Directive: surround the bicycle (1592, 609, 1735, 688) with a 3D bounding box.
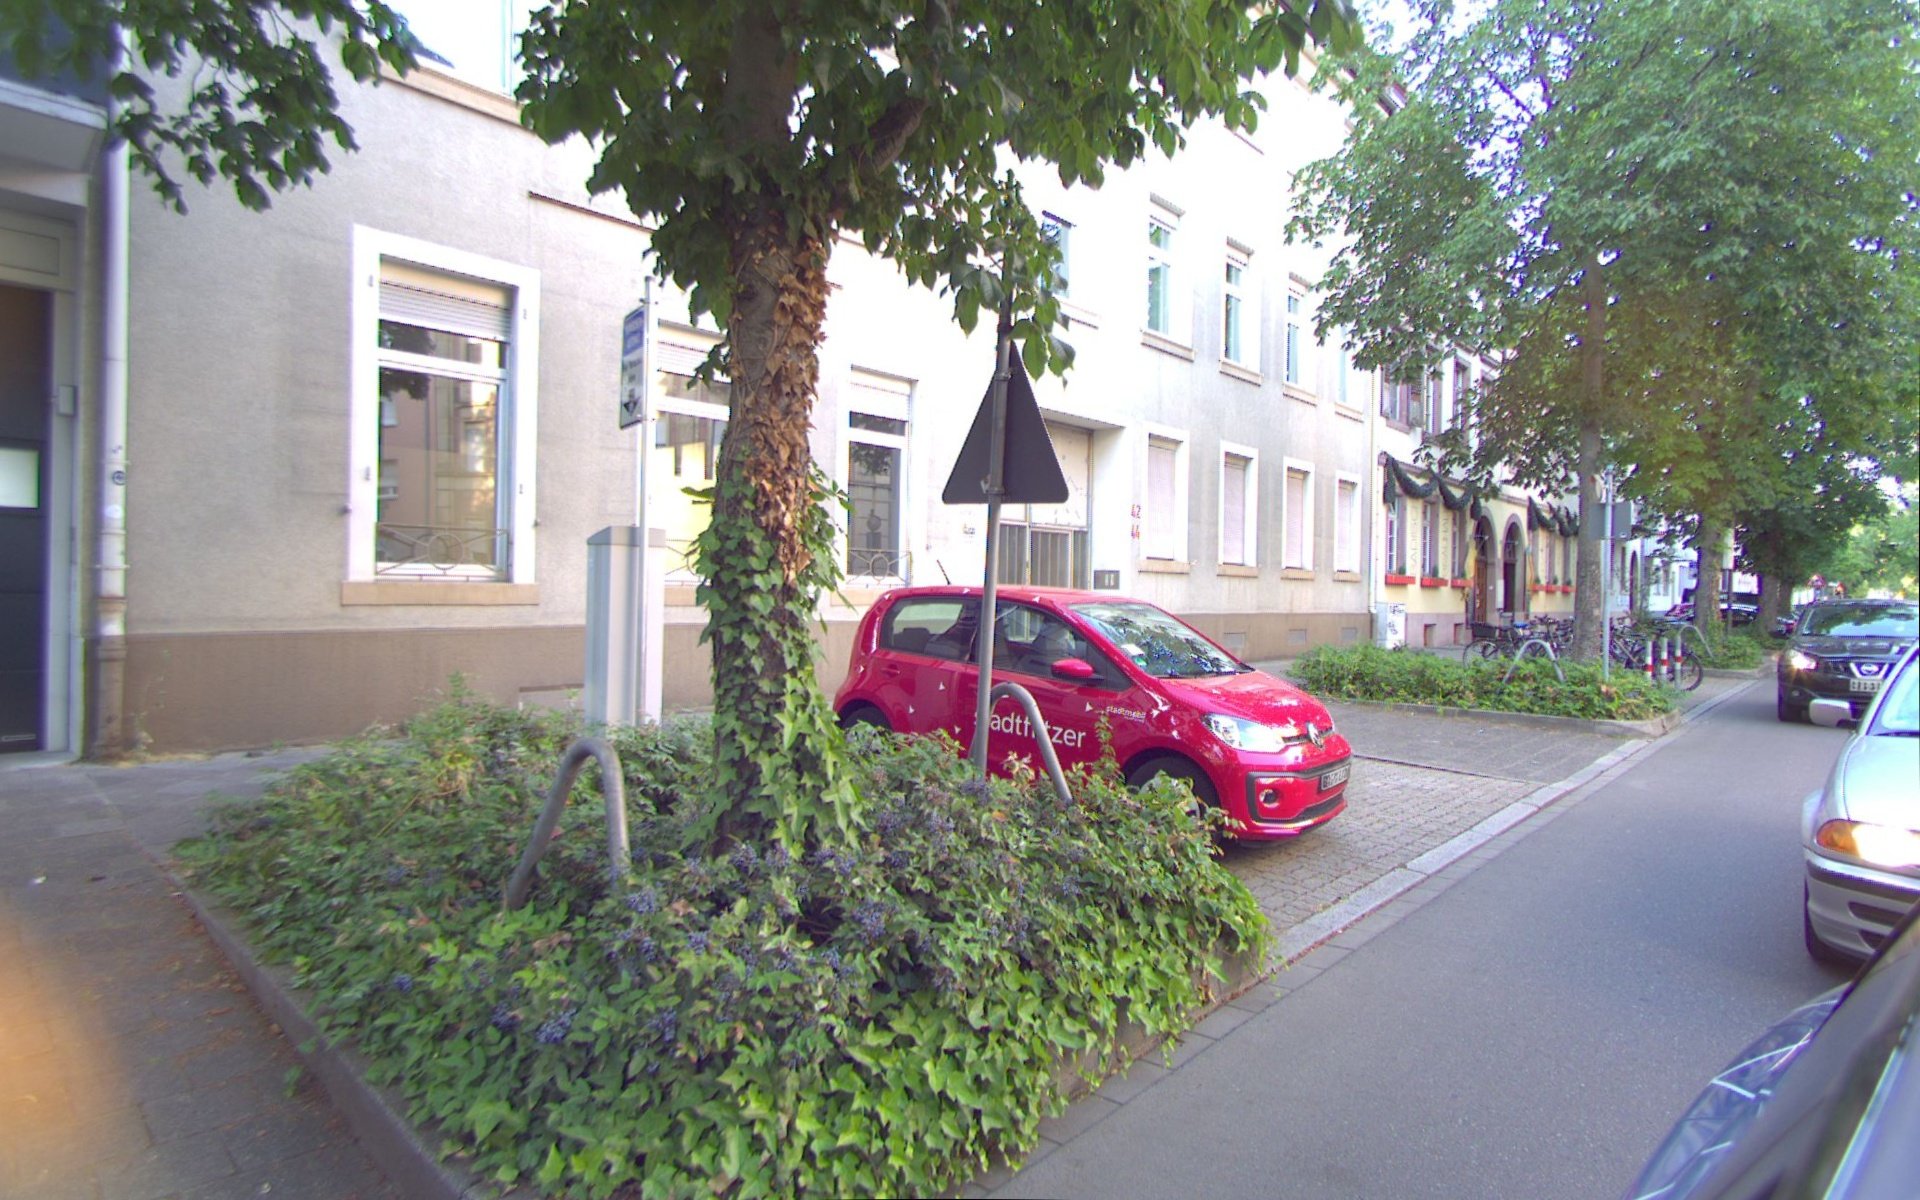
[{"bbox_3d":[12.355,0.822,17.819,2.019,1.242,0.528,2,1,39],"label":"bicycle"}]

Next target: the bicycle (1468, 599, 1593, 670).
[{"bbox_3d":[10.931,0.627,19.426,2.017,1.242,0.529,2,1,37],"label":"bicycle"}]

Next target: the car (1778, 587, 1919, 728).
[{"bbox_3d":[11.983,0.650,13.080,1.802,1.571,3.935,2,1,45],"label":"car"}]

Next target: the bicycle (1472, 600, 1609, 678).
[{"bbox_3d":[10.084,0.648,17.622,2.014,1.242,0.529,2,1,33],"label":"bicycle"}]

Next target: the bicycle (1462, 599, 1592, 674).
[{"bbox_3d":[10.300,0.640,18.432,2.014,1.242,0.529,2,1,33],"label":"bicycle"}]

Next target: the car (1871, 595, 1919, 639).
[{"bbox_3d":[35.891,0.604,38.442,1.801,1.571,3.937,2,1,44],"label":"car"}]

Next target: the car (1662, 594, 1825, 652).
[{"bbox_3d":[26.613,0.721,34.452,4.232,1.761,1.715,2,1,43],"label":"car"}]

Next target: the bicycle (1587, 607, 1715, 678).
[{"bbox_3d":[13.471,0.798,19.766,2.019,1.242,0.528,2,1,39],"label":"bicycle"}]

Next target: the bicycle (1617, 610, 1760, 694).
[{"bbox_3d":[11.852,0.821,16.533,1.835,1.242,0.529,2,1,33],"label":"bicycle"}]

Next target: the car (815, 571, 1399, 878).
[{"bbox_3d":[0.815,0.578,6.822,3.609,1.495,1.639,2,1,42],"label":"car"}]

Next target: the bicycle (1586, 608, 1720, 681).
[{"bbox_3d":[12.990,0.808,19.013,2.019,1.242,0.528,2,1,39],"label":"bicycle"}]

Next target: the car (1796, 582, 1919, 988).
[{"bbox_3d":[5.435,0.677,4.686,4.358,1.460,1.710,0,1,-41],"label":"car"}]
